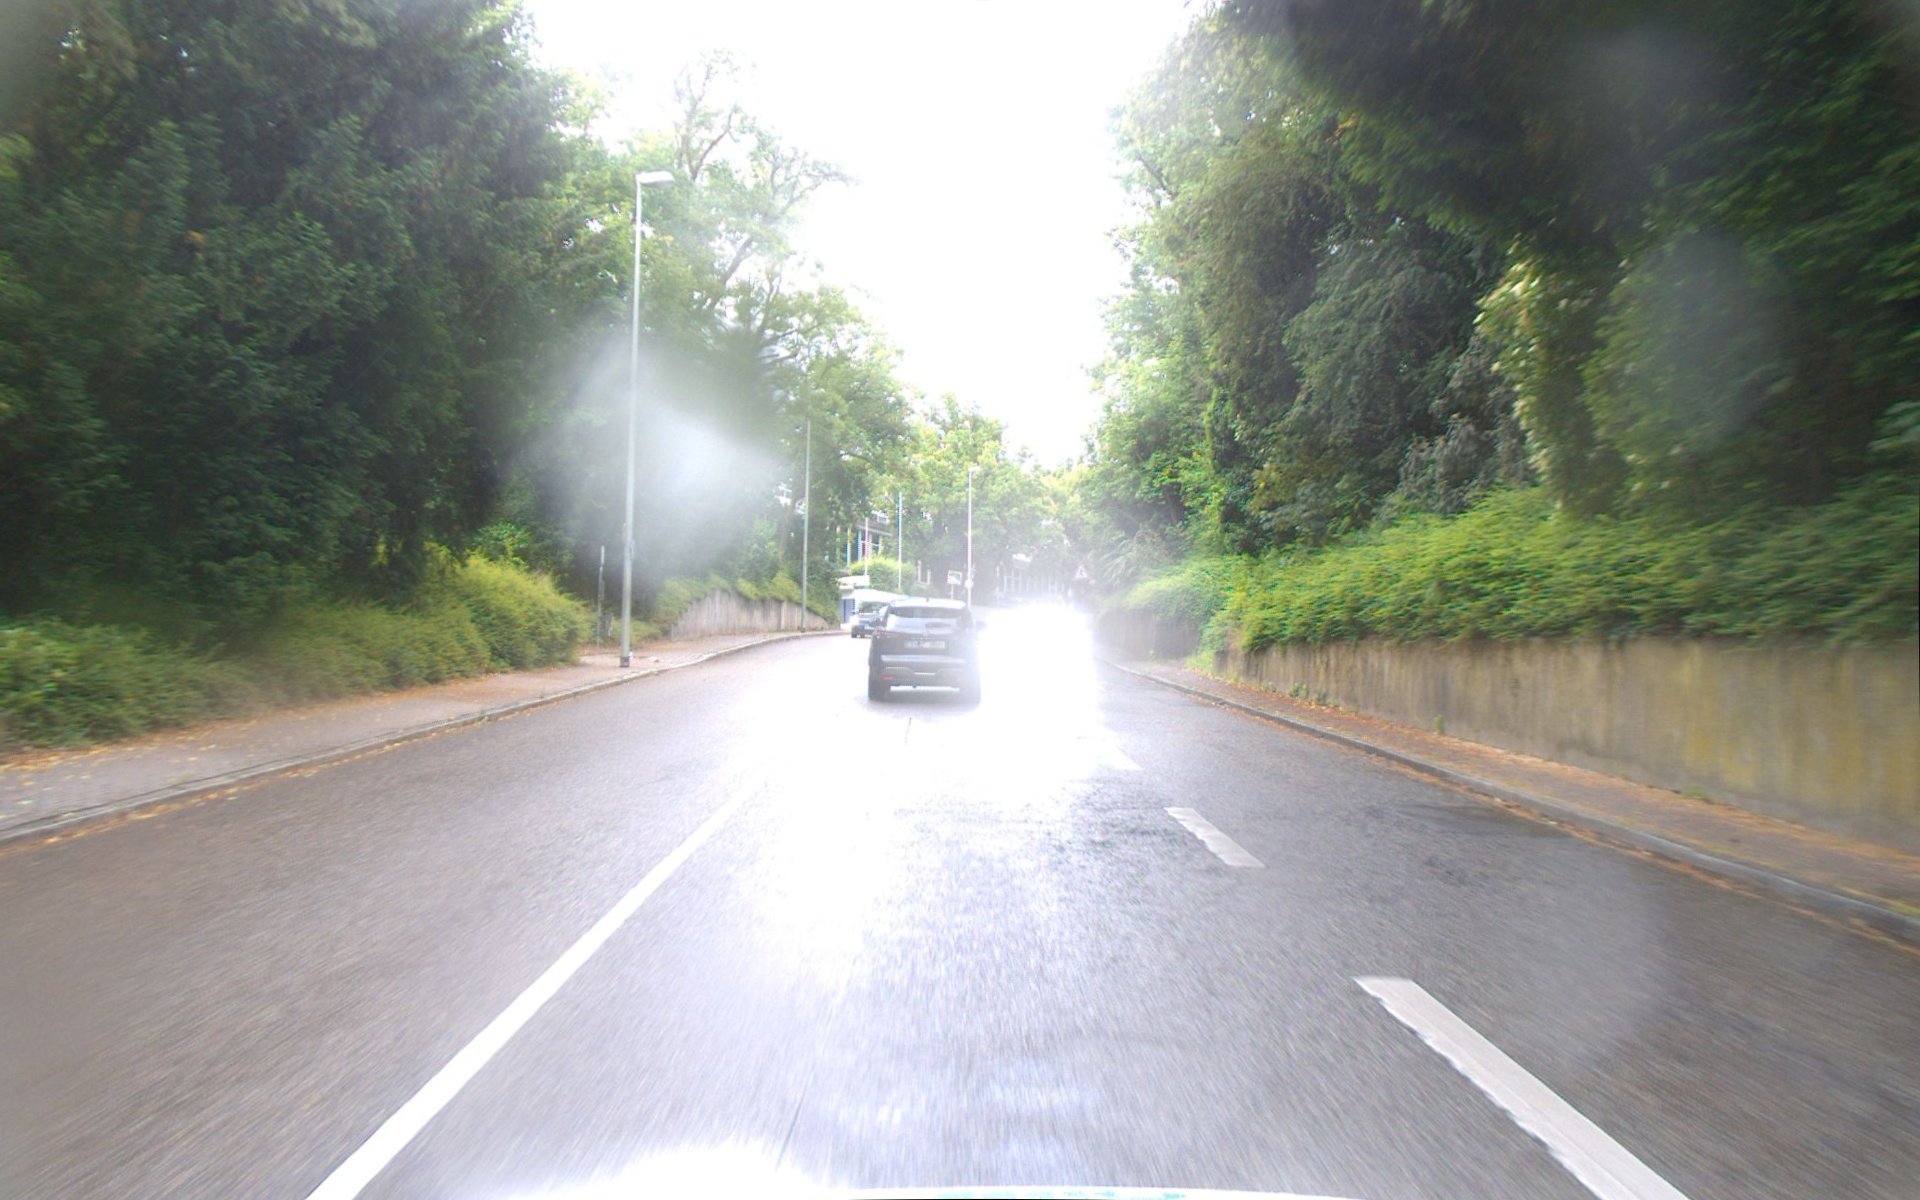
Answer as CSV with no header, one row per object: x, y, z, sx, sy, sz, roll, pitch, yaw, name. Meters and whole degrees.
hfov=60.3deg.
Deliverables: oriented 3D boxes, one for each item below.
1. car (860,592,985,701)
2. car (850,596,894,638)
-0.607,0.720,27.265,1.889,1.641,3.999,1,0,-1,car
-3.762,0.713,71.005,1.794,1.741,3.998,1,0,-2,car
